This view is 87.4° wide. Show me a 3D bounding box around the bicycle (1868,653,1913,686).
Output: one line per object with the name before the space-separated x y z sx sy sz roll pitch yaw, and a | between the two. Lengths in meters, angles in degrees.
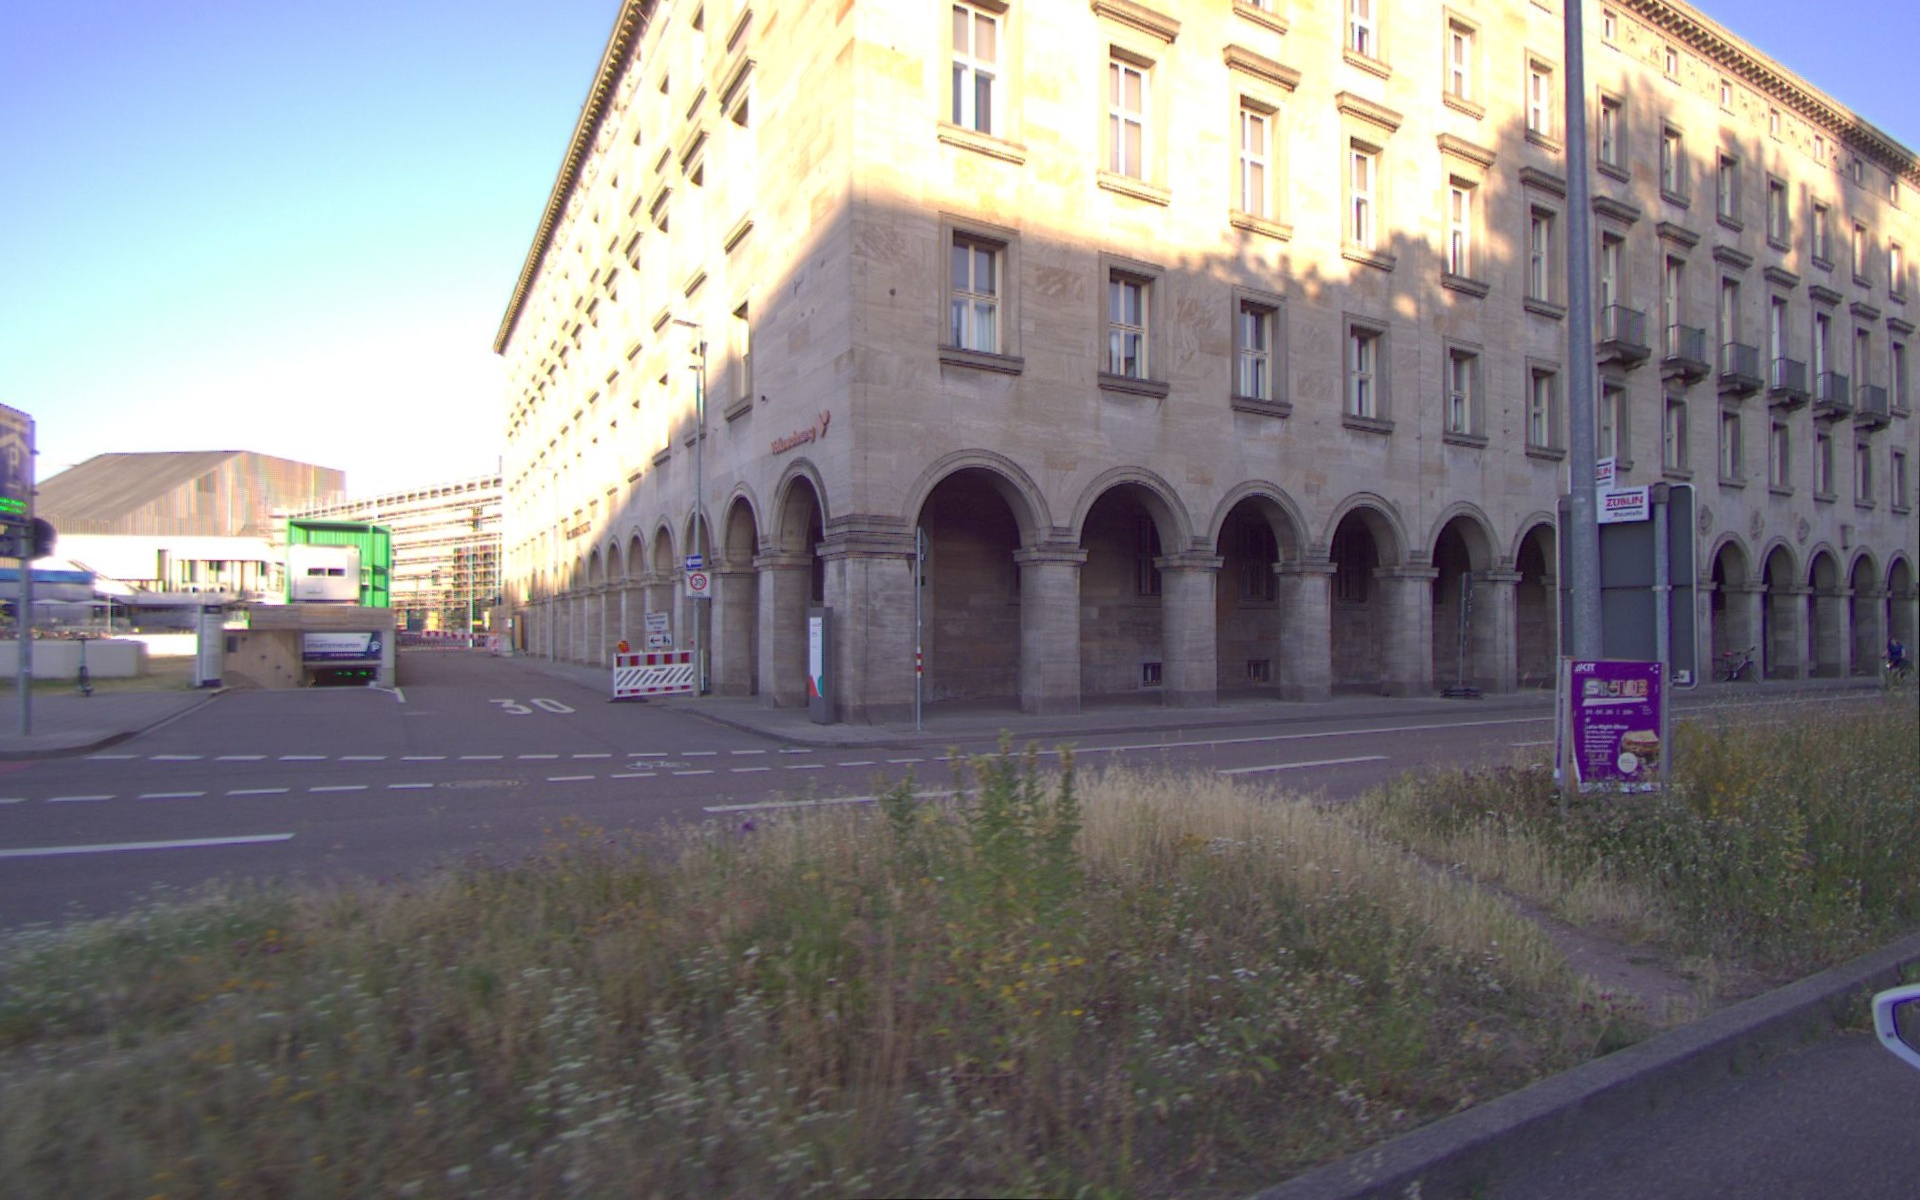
bicycle | 30.567 2.275 32.995 1.982 1.019 0.539 1 -2 -31

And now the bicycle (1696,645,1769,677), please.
bicycle | 25.636 2.012 33.345 1.964 1.019 0.479 0 -2 6

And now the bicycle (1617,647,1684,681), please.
bicycle | 21.272 1.959 30.948 1.970 1.019 0.478 0 -1 -12

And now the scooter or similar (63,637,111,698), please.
scooter or similar | -18.391 1.394 21.154 1.544 1.240 0.544 -1 -2 41

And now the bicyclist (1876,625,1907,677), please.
bicyclist | 30.643 1.671 33.049 0.739 1.715 0.534 1 -2 -30
